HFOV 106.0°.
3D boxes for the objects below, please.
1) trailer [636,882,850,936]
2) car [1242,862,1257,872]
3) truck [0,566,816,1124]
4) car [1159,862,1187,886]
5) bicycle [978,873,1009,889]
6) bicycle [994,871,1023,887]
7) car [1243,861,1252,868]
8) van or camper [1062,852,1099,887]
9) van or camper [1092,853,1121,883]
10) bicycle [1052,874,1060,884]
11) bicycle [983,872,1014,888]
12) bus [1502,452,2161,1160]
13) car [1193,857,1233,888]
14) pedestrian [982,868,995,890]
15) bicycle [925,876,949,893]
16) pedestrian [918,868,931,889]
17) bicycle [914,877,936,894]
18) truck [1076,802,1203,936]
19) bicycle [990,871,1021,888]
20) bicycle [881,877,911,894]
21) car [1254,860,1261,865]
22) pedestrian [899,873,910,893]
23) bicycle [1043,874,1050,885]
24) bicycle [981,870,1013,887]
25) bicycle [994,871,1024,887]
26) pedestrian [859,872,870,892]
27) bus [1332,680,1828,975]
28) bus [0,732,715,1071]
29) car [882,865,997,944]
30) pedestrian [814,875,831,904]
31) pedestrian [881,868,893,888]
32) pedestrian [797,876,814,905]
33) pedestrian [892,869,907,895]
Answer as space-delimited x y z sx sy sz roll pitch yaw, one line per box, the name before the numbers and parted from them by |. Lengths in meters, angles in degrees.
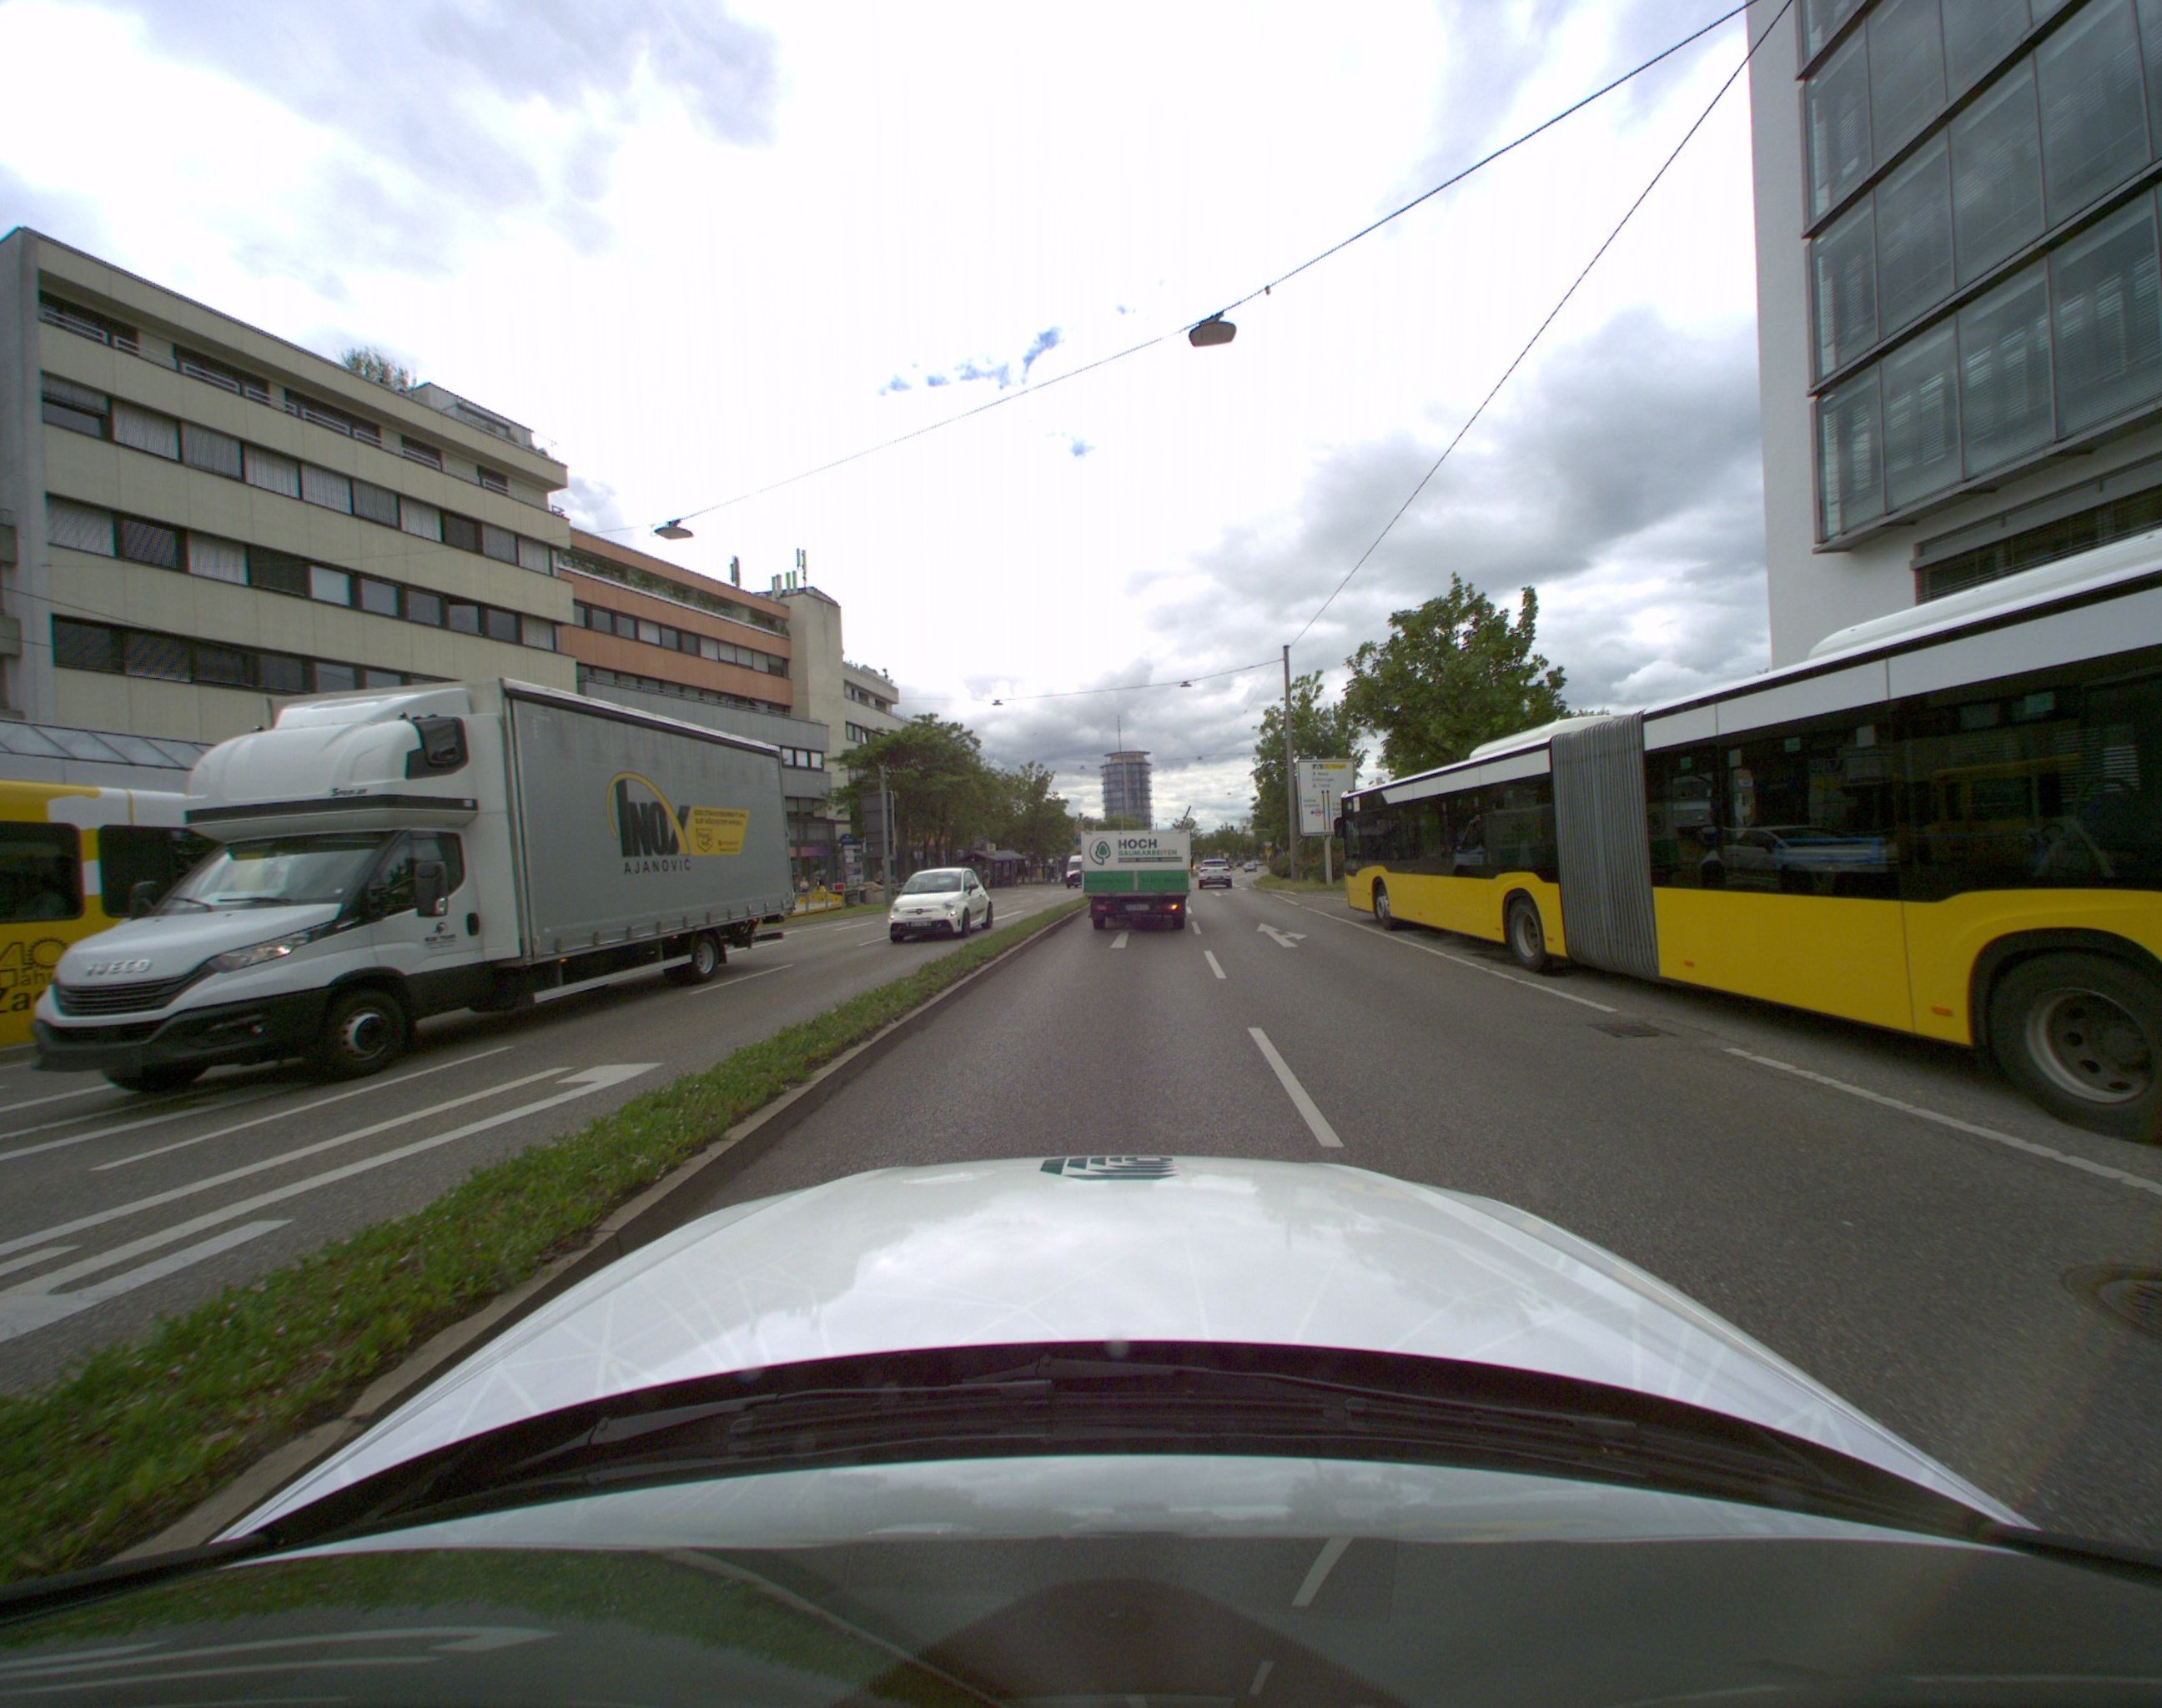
trailer | -12.630 1.985 32.316 2.829 1.333 12.134 -3 -1 3
car | 26.443 2.048 127.990 1.981 1.552 4.010 -3 -2 10
truck | -6.812 -0.023 10.513 2.924 3.958 9.177 -3 0 5
car | 6.679 1.425 59.053 1.858 1.505 4.782 -3 0 7
bicycle | -8.468 2.610 78.895 2.884 1.507 0.974 -1 -1 6
bicycle | -7.521 2.619 84.961 2.884 1.507 0.600 -3 -1 6
car | 38.099 2.430 186.329 1.980 1.552 4.013 -3 -2 12
van or camper | 0.033 1.224 66.252 1.982 2.598 6.129 -5 -1 8
van or camper | 2.510 1.358 78.434 2.021 2.598 6.129 -5 -1 8
bicycle | -2.928 2.958 94.883 0.827 1.084 1.936 -3 -1 1
bicycle | -8.305 2.595 81.679 2.884 1.507 0.807 -3 -1 6
bus | 6.549 -0.263 5.339 3.023 3.235 9.345 -4 -1 3
car | 7.217 0.983 45.033 1.858 1.505 4.781 -3 0 6
pedestrian | -7.628 2.077 67.024 0.699 1.823 1.217 -1 -2 11
bicycle | -10.701 2.247 60.569 1.699 1.161 0.597 -2 -1 -45
pedestrian | -13.167 2.071 68.533 0.766 1.716 0.791 -1 -1 32
bicycle | -11.330 2.271 59.235 0.598 1.161 1.974 -3 -1 18
truck | 1.539 0.306 19.606 2.458 2.611 6.559 -2 0 7
bicycle | -7.615 2.589 82.305 2.884 1.507 0.807 -3 -1 6
bicycle | -13.764 2.341 60.547 2.028 1.161 0.666 -2 -1 -37
car | 52.778 2.554 243.652 1.980 1.552 4.013 -3 -2 12
pedestrian | -15.564 2.535 71.804 0.766 1.716 0.791 -1 -1 6
bicycle | -4.029 2.960 95.003 0.711 1.136 1.956 -3 -1 0
bicycle | -8.214 2.417 79.929 2.884 1.507 0.893 -3 -1 6
bicycle | -7.445 2.607 84.024 2.884 1.507 0.701 -3 -1 6
pedestrian | -17.243 2.231 64.759 0.626 1.600 0.626 0 -2 -45
bus | 7.009 -0.268 13.922 2.969 3.241 9.874 0 0 3
bus | -13.913 0.702 15.820 3.861 3.859 19.354 -3 -1 3
car | -3.034 1.033 18.169 1.580 1.502 3.723 -2 -1 5
pedestrian | -14.433 1.978 45.478 0.596 1.573 0.621 -3 -1 4
pedestrian | -15.478 1.881 65.022 0.662 1.584 0.708 -1 -1 9
pedestrian | -15.400 2.036 45.519 0.596 1.573 0.621 -3 -1 4
pedestrian | -12.103 1.865 54.422 0.770 1.713 0.708 -1 -1 9
